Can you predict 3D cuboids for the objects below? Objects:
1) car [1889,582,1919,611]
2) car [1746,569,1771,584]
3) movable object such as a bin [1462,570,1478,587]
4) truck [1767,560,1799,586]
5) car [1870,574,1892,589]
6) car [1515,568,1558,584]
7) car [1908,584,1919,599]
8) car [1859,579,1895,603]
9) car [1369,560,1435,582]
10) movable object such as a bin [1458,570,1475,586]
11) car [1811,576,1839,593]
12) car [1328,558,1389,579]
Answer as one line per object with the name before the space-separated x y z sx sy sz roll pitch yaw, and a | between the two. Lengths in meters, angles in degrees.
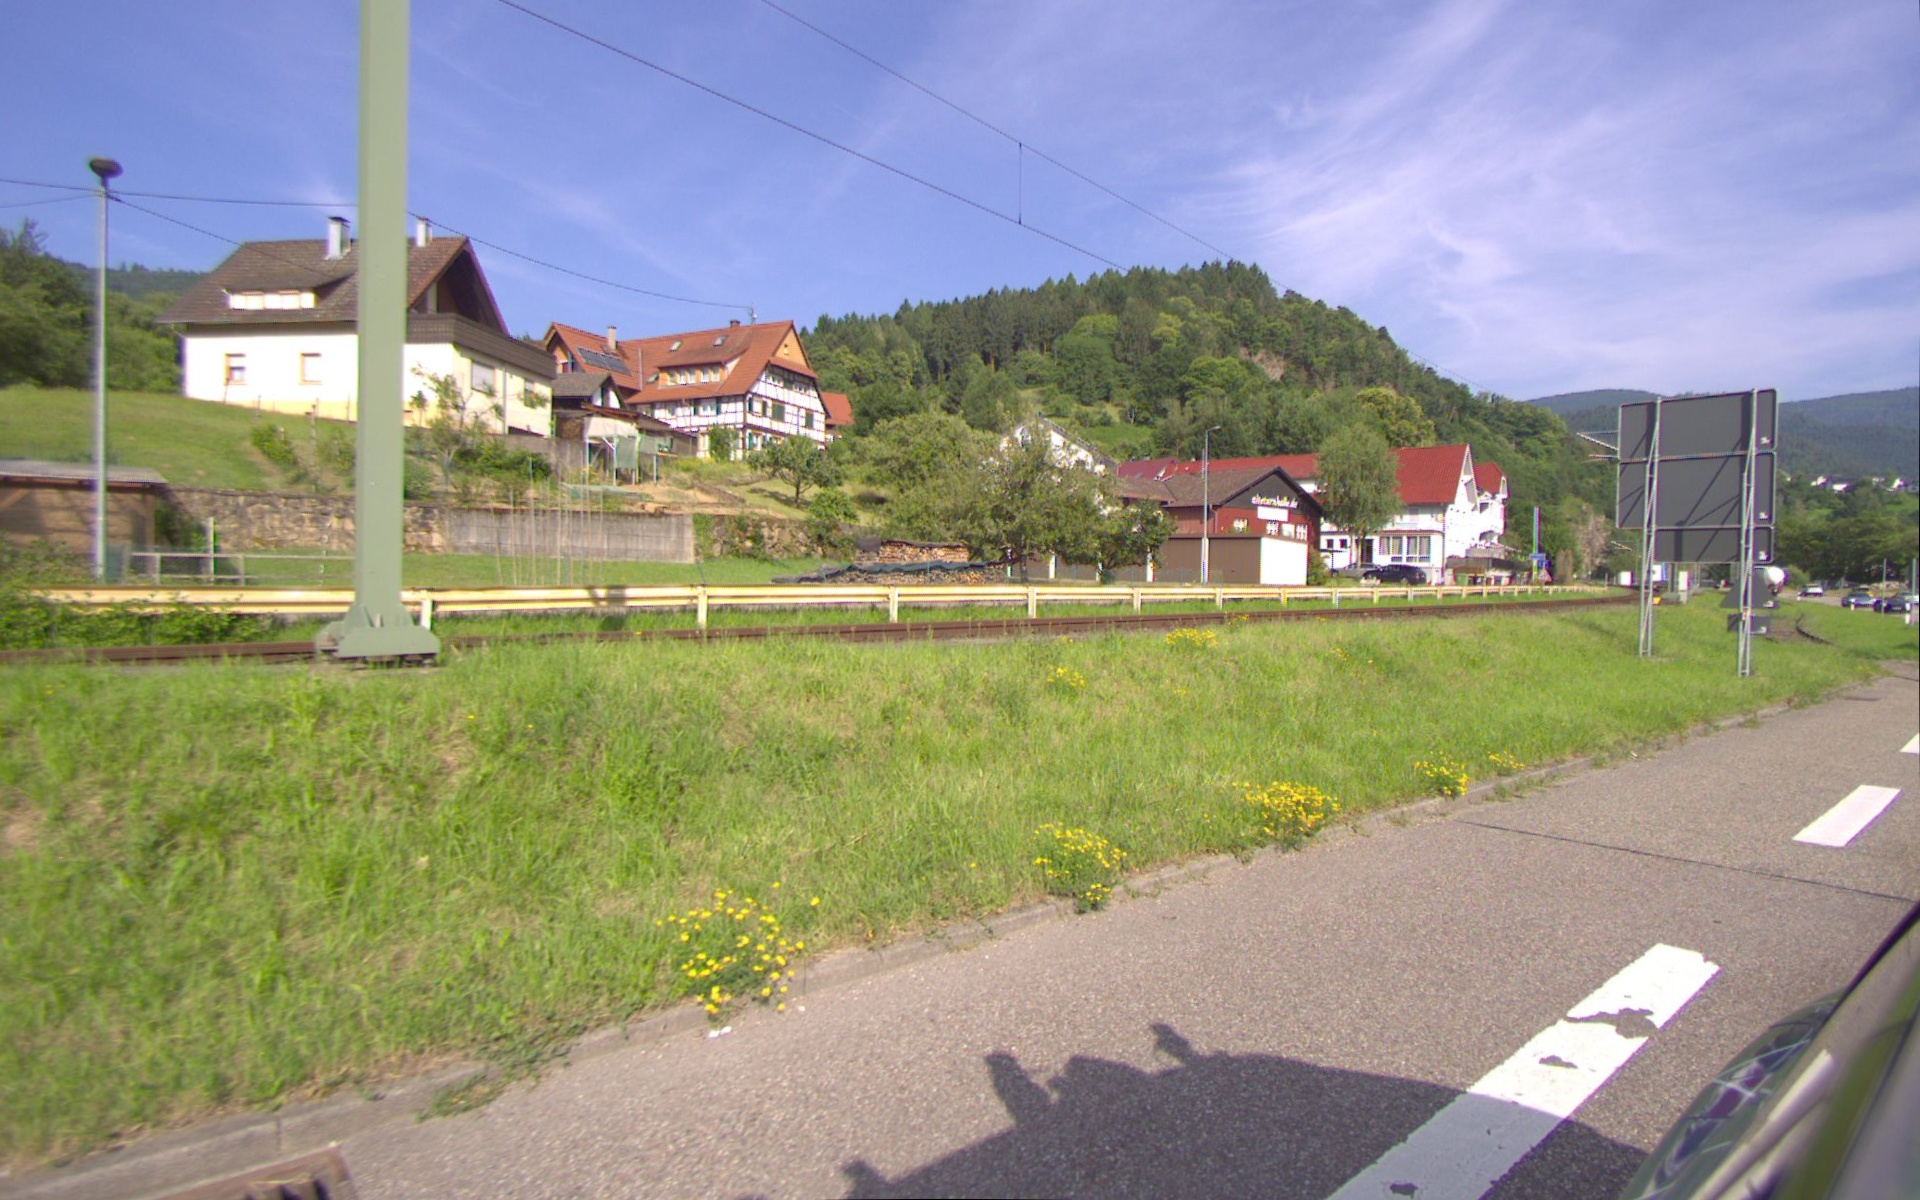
car | 73.197 -0.270 78.087 1.992 2.038 3.941 5 3 40
car | 114.984 -3.377 145.728 1.983 2.038 3.960 4 3 29
movable object such as a bin | 34.098 -1.435 67.662 0.807 1.064 0.898 0 0 41
truck | 126.363 -4.114 155.453 2.741 3.883 14.378 0 1 35
car | 102.048 -1.993 112.158 1.721 1.645 3.741 0 0 40
car | 63.294 -2.630 111.072 3.972 1.549 1.977 4 2 33
car | 90.708 -0.826 95.309 1.775 1.365 4.447 -1 0 39
car | 85.268 -0.847 94.105 1.989 2.038 3.947 5 3 37
car | 32.128 -2.125 73.628 3.990 1.392 1.796 6 4 44
movable object such as a bin | 33.446 -1.435 66.831 0.807 1.064 0.898 0 0 41
car | 111.853 -2.067 130.861 1.985 2.038 3.957 4 3 31
car | 30.994 -2.461 78.805 3.987 1.392 1.798 6 4 42
